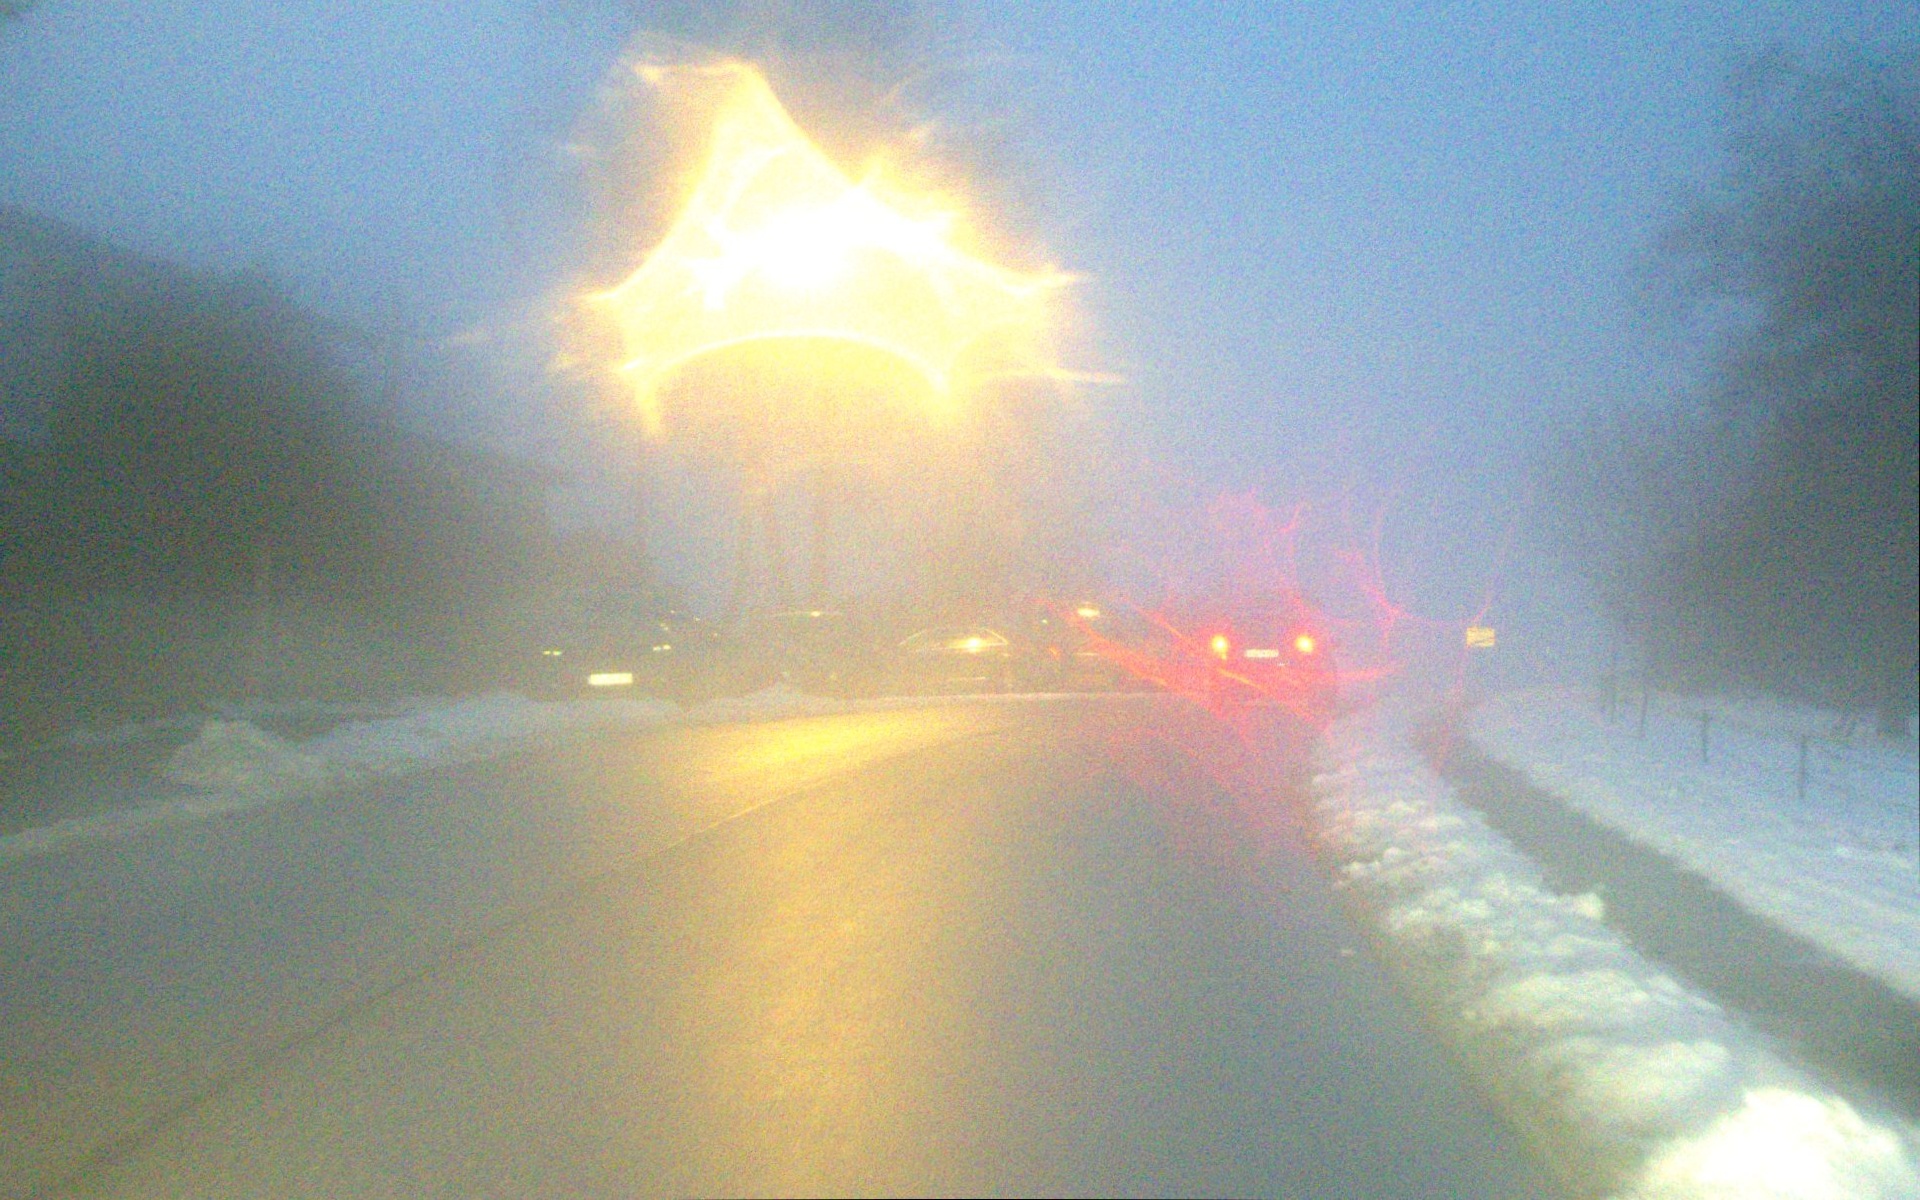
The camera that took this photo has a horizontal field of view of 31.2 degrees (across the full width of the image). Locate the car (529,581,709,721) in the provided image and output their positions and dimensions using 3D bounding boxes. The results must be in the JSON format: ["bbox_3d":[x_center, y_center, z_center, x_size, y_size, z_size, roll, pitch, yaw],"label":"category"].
[{"bbox_3d":[-4.346,0.675,43.184,1.993,1.561,4.998,-3,-1,-8],"label":"car"}]

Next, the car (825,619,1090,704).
[{"bbox_3d":[-0.022,1.221,67.710,4.889,1.480,2.122,-2,-2,10],"label":"car"}]

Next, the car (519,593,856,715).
[{"bbox_3d":[-3.833,0.777,48.937,4.528,1.561,2.110,-2,-1,2],"label":"car"}]

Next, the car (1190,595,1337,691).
[{"bbox_3d":[4.773,0.647,53.622,1.994,1.415,3.998,1,0,9],"label":"car"}]
